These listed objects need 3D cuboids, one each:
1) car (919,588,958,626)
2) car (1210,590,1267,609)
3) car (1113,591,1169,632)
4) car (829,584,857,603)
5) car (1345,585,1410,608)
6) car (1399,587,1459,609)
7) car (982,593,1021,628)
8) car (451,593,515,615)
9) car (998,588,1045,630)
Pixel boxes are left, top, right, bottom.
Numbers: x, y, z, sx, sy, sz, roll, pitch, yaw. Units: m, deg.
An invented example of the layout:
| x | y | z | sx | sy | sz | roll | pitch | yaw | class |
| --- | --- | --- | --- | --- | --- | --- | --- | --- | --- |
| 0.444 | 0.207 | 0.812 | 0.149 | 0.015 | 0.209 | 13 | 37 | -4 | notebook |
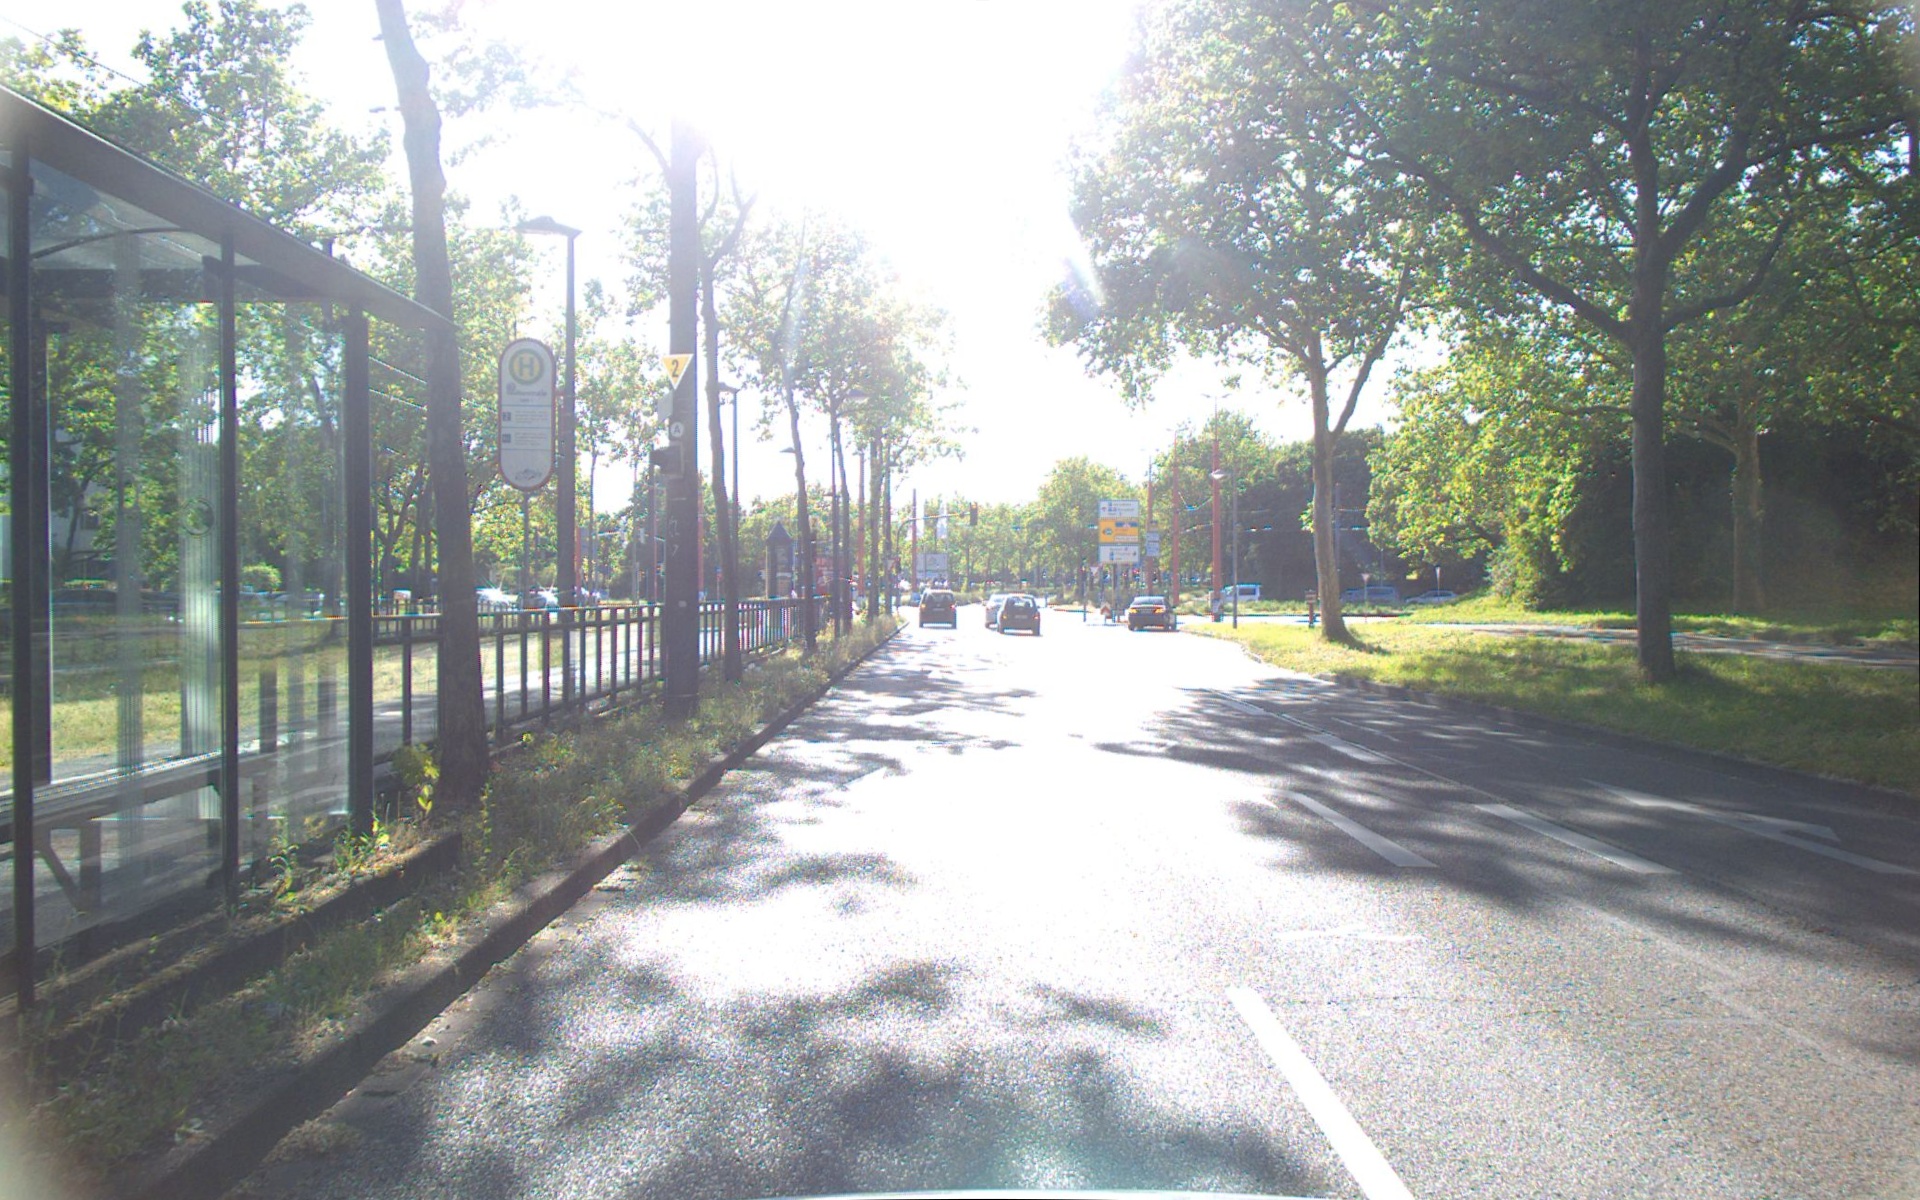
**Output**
| x | y | z | sx | sy | sz | roll | pitch | yaw | class |
| --- | --- | --- | --- | --- | --- | --- | --- | --- | --- |
| -0.996 | 0.309 | 73.875 | 1.676 | 1.631 | 3.349 | 0 | 0 | -2 | car |
| 20.875 | -0.007 | 123.904 | 3.908 | 1.361 | 1.728 | 1 | 0 | 25 | car |
| 8.110 | 0.498 | 74.434 | 1.941 | 1.823 | 4.613 | 0 | 0 | -1 | car |
| -11.373 | -0.649 | 160.773 | 1.784 | 1.811 | 4.571 | 1 | 0 | 8 | car |
| 30.141 | -0.249 | 119.309 | 4.264 | 1.586 | 1.871 | 1 | 0 | 24 | car |
| 34.204 | -0.124 | 120.582 | 3.908 | 1.521 | 1.859 | 1 | 0 | 26 | car |
| 1.834 | 0.455 | 74.318 | 1.644 | 1.500 | 4.130 | 1 | 0 | 0 | car |
| -36.751 | 0.312 | 127.374 | 4.391 | 1.639 | 1.901 | -1 | 0 | 18 | car |
| 2.398 | 0.338 | 65.421 | 1.606 | 1.520 | 3.502 | 1 | 1 | -2 | car |
